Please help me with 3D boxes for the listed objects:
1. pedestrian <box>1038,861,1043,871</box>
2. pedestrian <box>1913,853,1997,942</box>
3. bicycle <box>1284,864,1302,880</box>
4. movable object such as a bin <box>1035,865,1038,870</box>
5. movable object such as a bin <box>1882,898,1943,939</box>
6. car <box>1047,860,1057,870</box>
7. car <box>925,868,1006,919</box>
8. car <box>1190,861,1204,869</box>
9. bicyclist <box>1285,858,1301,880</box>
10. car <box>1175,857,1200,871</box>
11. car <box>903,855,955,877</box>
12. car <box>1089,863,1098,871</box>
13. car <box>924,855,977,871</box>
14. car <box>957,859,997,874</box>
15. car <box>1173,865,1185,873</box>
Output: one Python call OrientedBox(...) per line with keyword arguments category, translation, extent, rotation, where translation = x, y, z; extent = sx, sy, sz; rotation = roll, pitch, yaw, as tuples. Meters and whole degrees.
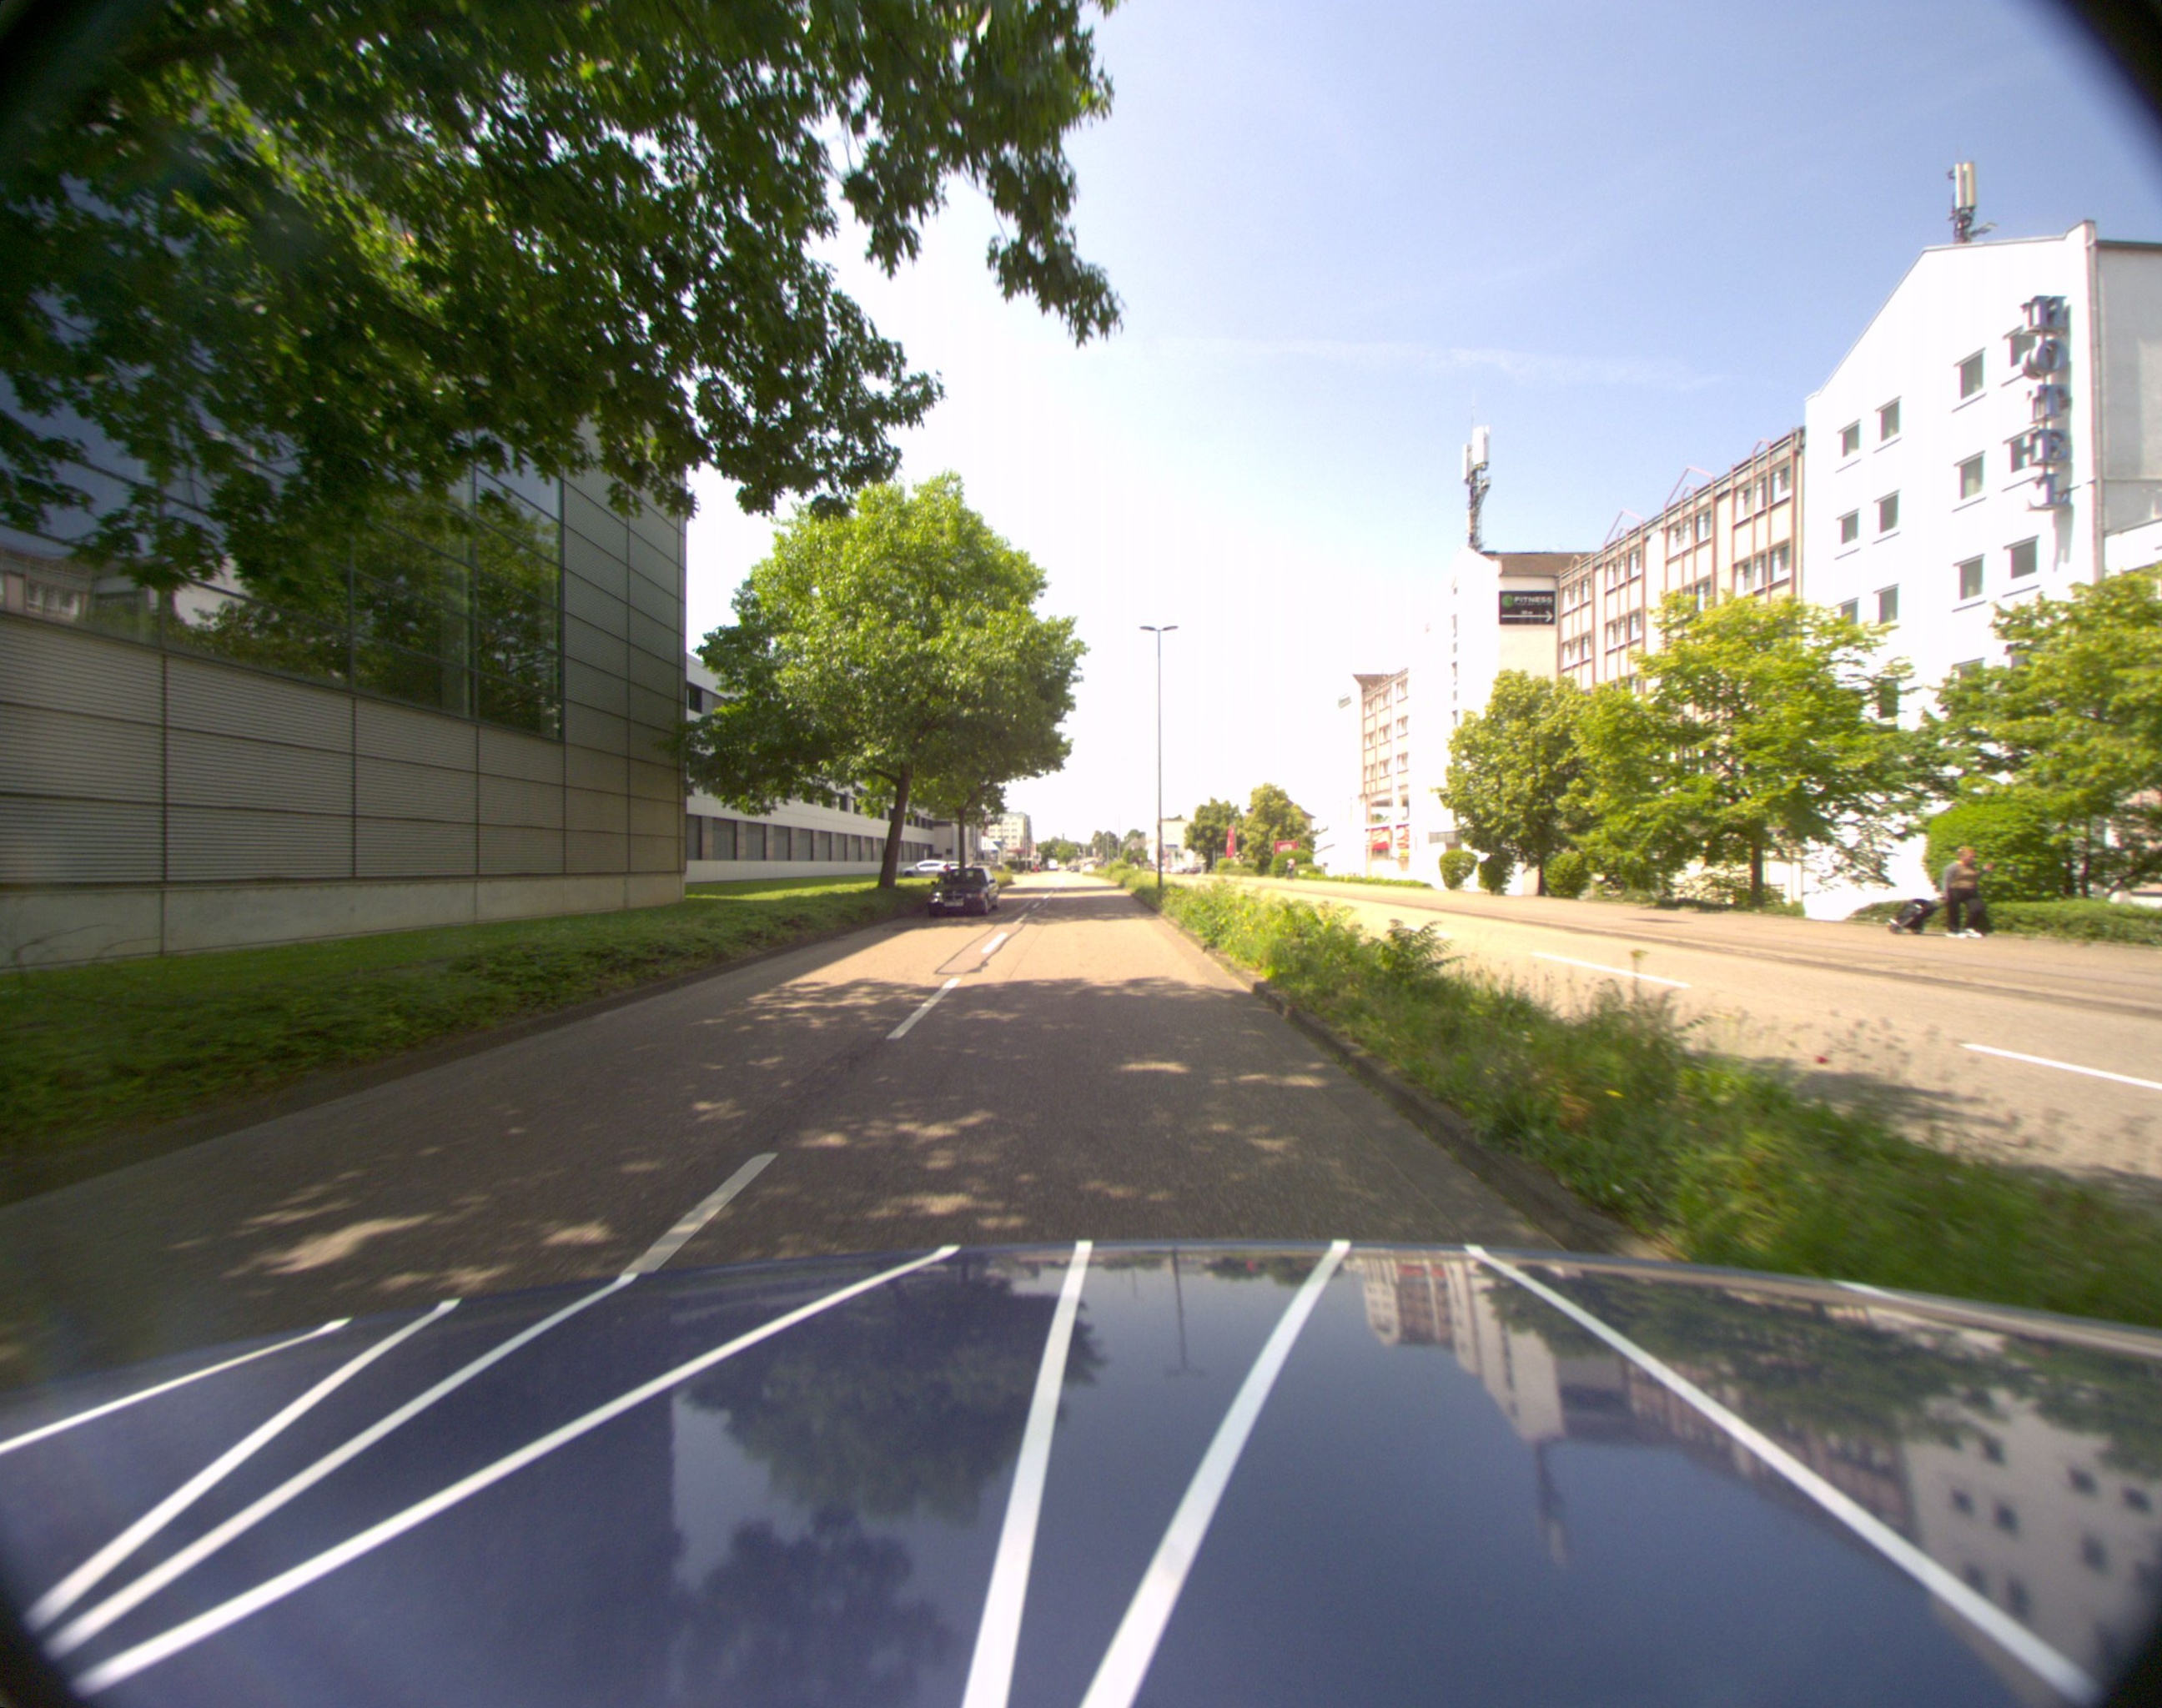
OrientedBox(category="pedestrian", translation=(-7.278, 2.168, 136.421), extent=(0.787, 1.836, 0.936), rotation=(0, 0, 3))
OrientedBox(category="pedestrian", translation=(15.510, 0.758, 13.506), extent=(0.634, 1.536, 0.727), rotation=(0, 0, 0))
OrientedBox(category="bicycle", translation=(14.296, 1.216, 51.307), extent=(0.552, 1.067, 2.062), rotation=(-1, 0, -2))
OrientedBox(category="movable object such as a bin", translation=(-8.134, 2.517, 138.927), extent=(0.552, 0.914, 0.653), rotation=(3, 0, 1))
OrientedBox(category="movable object such as a bin", translation=(15.247, 1.179, 13.946), extent=(0.429, 0.701, 0.652), rotation=(0, 0, 9))
OrientedBox(category="car", translation=(-8.061, 3.003, 211.357), extent=(2.183, 2.757, 7.278), rotation=(2, -1, 0))
OrientedBox(category="car", translation=(-3.349, 1.115, 22.666), extent=(1.631, 1.331, 3.758), rotation=(-1, -1, 3))
OrientedBox(category="car", translation=(20.299, 1.985, 132.602), extent=(1.737, 1.343, 4.000), rotation=(0, -1, -2))
OrientedBox(category="bicyclist", translation=(14.309, 1.008, 51.330), extent=(0.719, 1.507, 1.026), rotation=(0, 0, -3))
OrientedBox(category="car", translation=(20.485, 1.933, 146.364), extent=(4.557, 1.699, 1.760), rotation=(-15, 0, 7))
OrientedBox(category="car", translation=(-12.163, 0.940, 60.919), extent=(3.823, 1.582, 1.732), rotation=(2, 0, -4))
OrientedBox(category="car", translation=(2.283, 2.333, 138.173), extent=(1.693, 1.425, 3.712), rotation=(0, -1, 1))
OrientedBox(category="car", translation=(-11.944, 0.801, 69.566), extent=(4.627, 1.382, 1.999), rotation=(0, 0, -5))
OrientedBox(category="car", translation=(-11.678, 1.386, 85.671), extent=(4.271, 1.679, 1.999), rotation=(1, 0, -4))
OrientedBox(category="car", translation=(17.244, 2.590, 133.494), extent=(1.780, 1.402, 4.761), rotation=(1, -1, 4))
